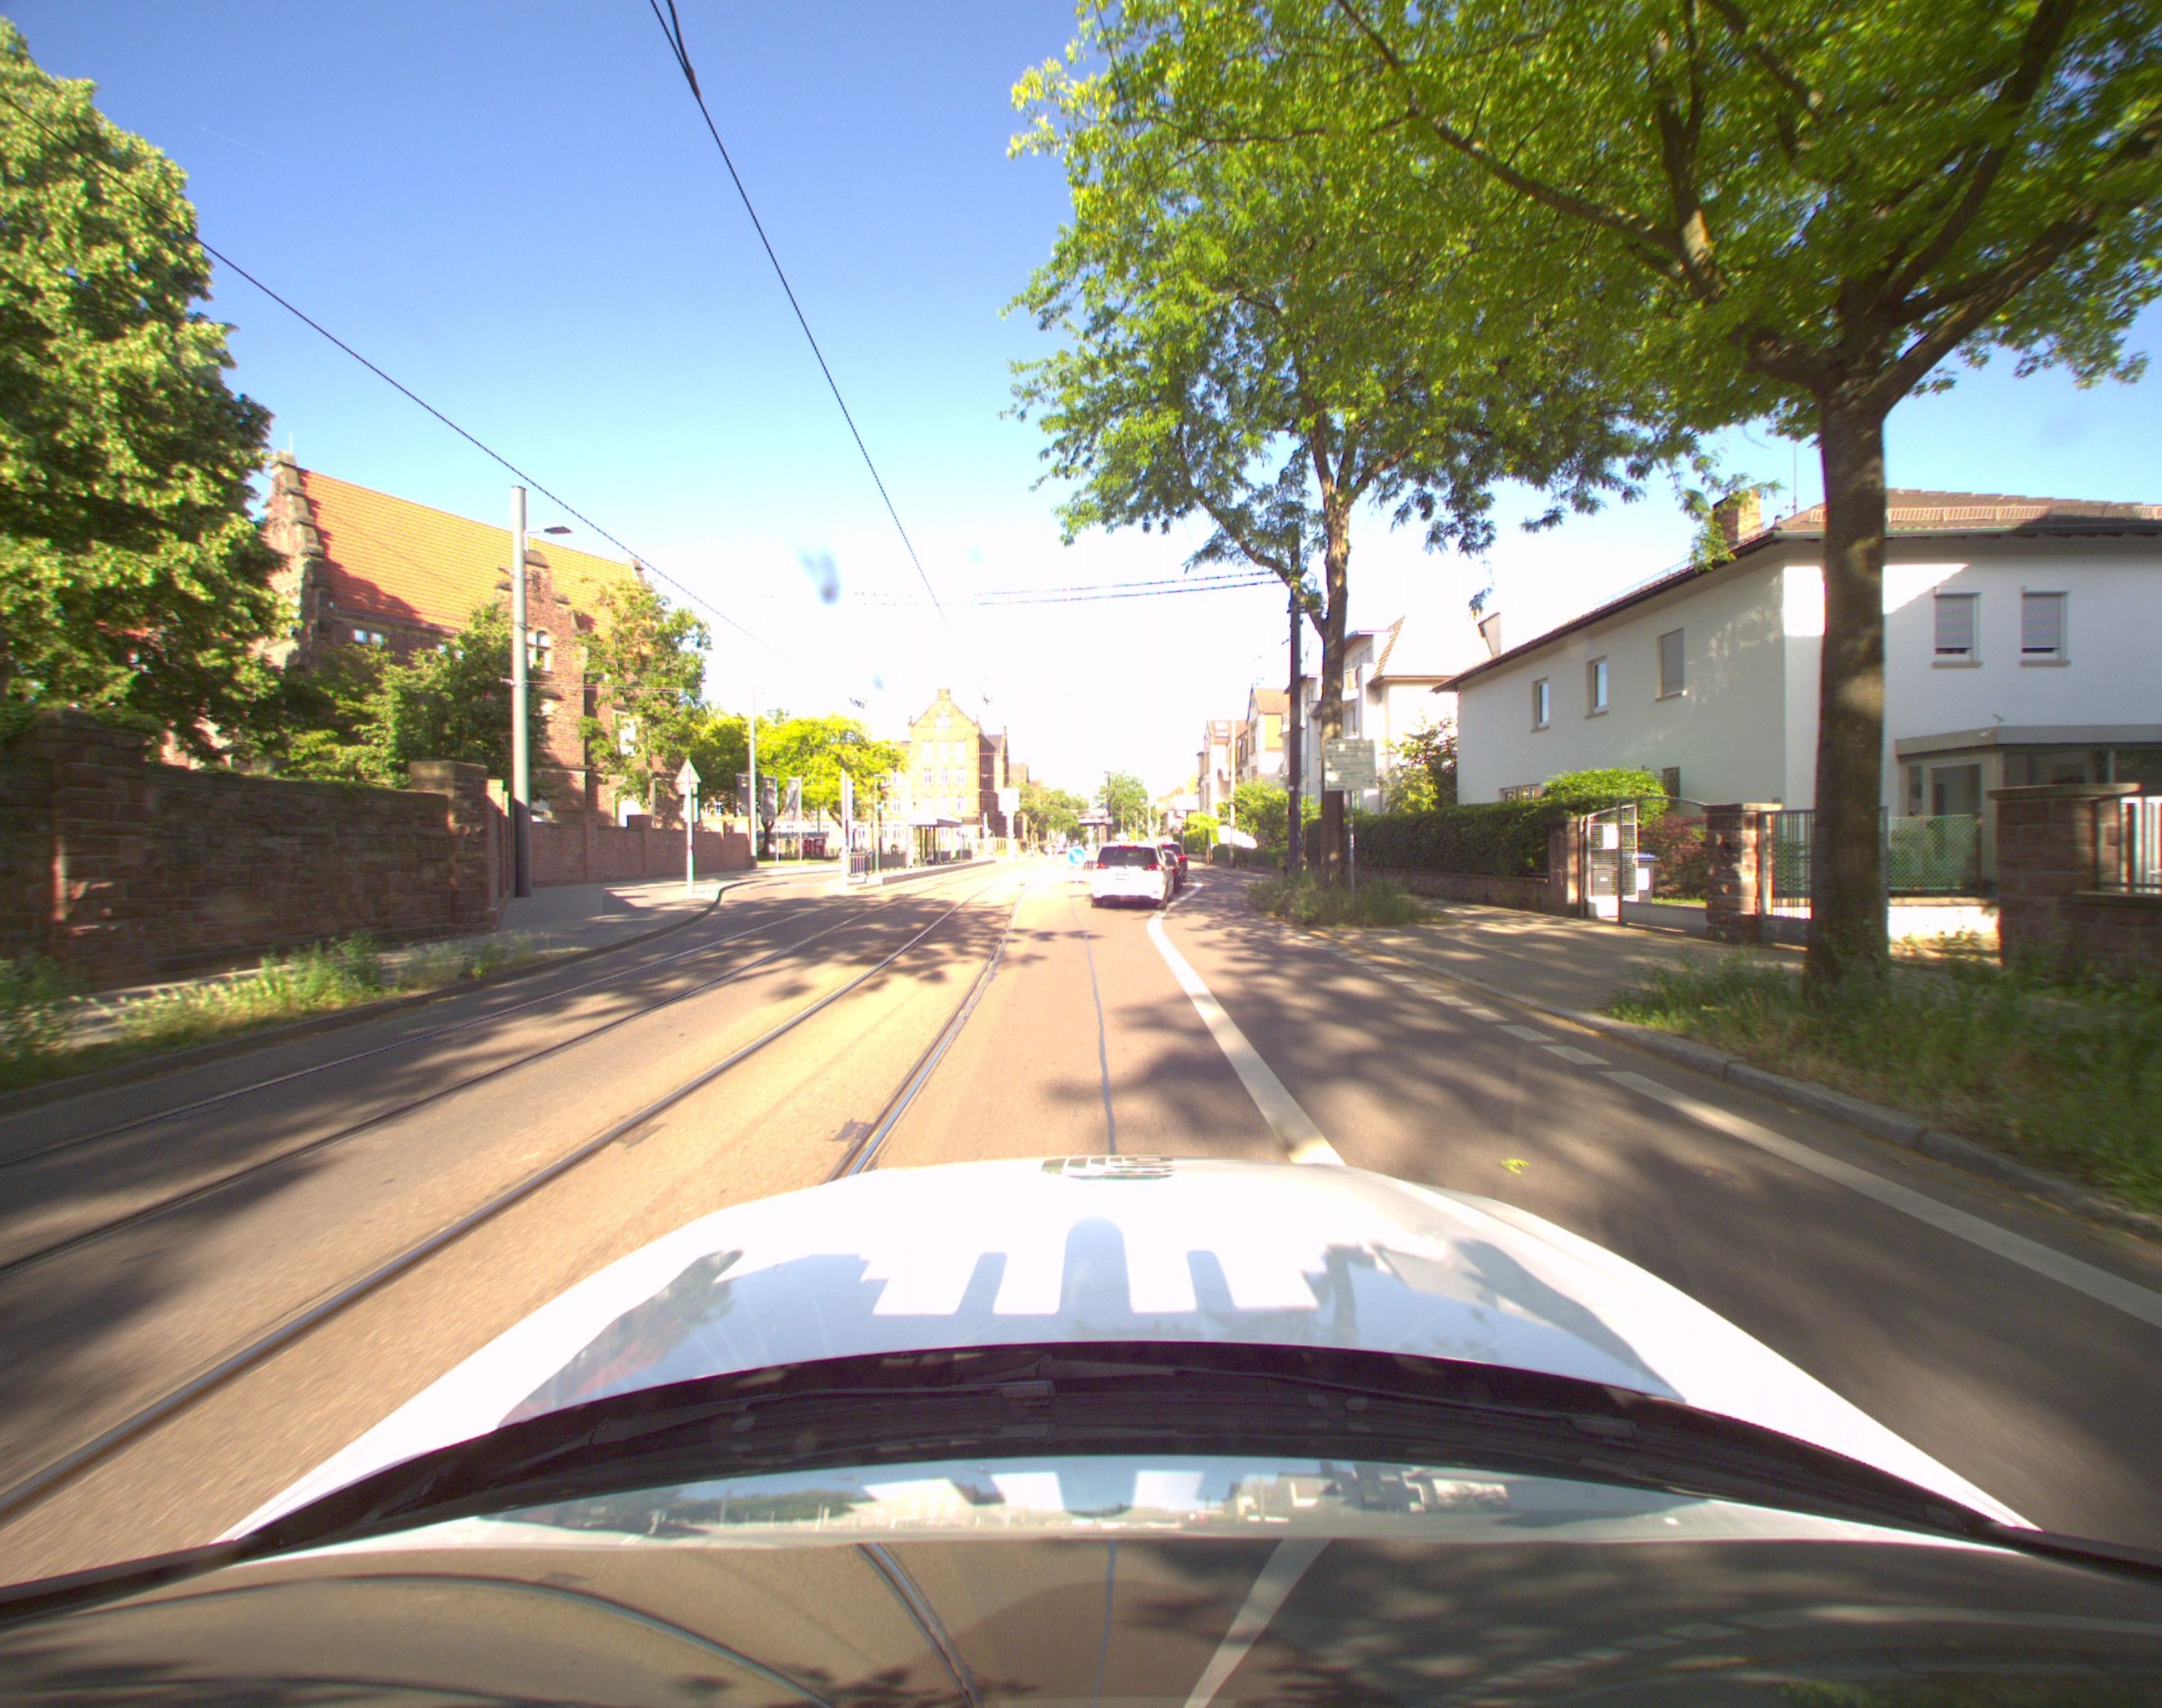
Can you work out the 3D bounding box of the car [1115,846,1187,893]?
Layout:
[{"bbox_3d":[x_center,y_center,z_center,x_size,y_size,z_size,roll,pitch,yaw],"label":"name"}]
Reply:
[{"bbox_3d":[2.444,0.478,27.476,1.981,1.442,4.012,-1,1,11],"label":"car"}]

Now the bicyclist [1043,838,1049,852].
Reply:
[{"bbox_3d":[-5.146,-1.296,119.245,0.948,2.013,0.823,0,0,-2],"label":"bicyclist"}]

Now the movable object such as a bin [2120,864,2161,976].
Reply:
[{"bbox_3d":[10.623,0.631,7.770,0.649,1.047,0.651,0,0,23],"label":"movable object such as a bin"}]

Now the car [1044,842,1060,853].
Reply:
[{"bbox_3d":[-4.558,-1.077,127.478,1.983,1.722,4.007,0,1,6],"label":"car"}]

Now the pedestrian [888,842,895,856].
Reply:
[{"bbox_3d":[-18.204,-0.482,78.325,0.556,1.259,0.530,-1,0,0],"label":"pedestrian"}]

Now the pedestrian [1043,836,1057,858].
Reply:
[{"bbox_3d":[-2.848,-0.675,74.751,1.150,2.013,1.121,-1,1,6],"label":"pedestrian"}]

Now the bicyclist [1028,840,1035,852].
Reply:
[{"bbox_3d":[-7.150,-1.122,116.758,0.940,1.734,0.861,0,0,1],"label":"bicyclist"}]

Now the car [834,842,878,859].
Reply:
[{"bbox_3d":[-23.416,-0.357,84.796,3.978,1.789,1.998,0,0,-3],"label":"car"}]

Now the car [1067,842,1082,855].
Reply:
[{"bbox_3d":[-0.940,-0.839,120.787,1.986,1.913,4.002,0,0,2],"label":"car"}]

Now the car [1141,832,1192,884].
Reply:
[{"bbox_3d":[3.578,0.149,33.568,1.698,2.013,3.919,-1,0,11],"label":"car"}]

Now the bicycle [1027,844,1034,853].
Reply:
[{"bbox_3d":[-7.166,-0.793,116.471,0.819,1.297,2.677,0,1,0],"label":"bicycle"}]

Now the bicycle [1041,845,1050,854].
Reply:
[{"bbox_3d":[-5.174,-0.676,119.253,1.144,1.297,2.860,0,1,0],"label":"bicycle"}]

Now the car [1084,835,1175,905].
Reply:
[{"bbox_3d":[1.359,0.422,20.854,1.881,1.611,4.239,0,-1,9],"label":"car"}]
